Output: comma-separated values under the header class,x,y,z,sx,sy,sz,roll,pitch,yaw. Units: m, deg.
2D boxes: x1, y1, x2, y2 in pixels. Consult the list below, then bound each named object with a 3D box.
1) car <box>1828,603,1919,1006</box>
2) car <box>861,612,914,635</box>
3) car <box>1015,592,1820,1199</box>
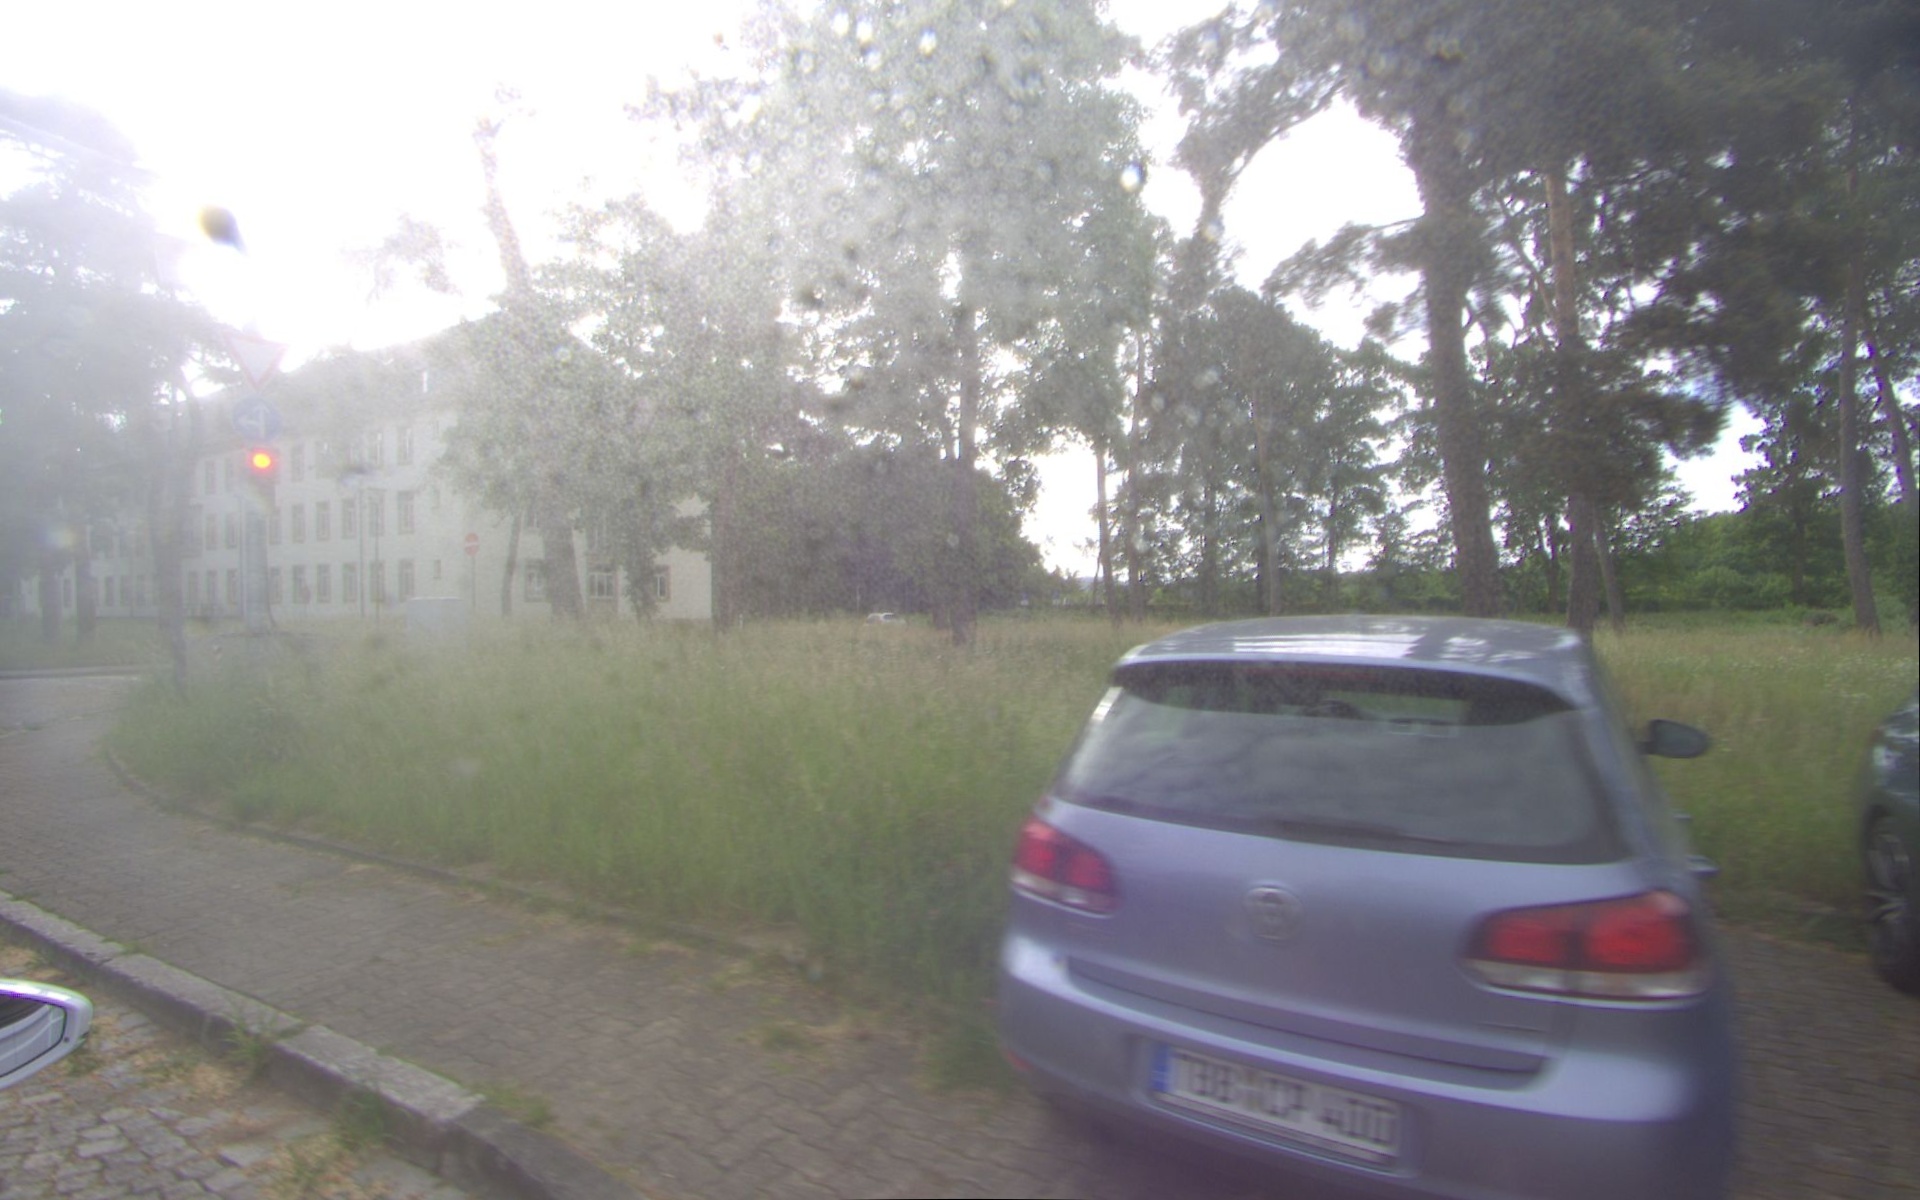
class,x,y,z,sx,sy,sz,roll,pitch,yaw
car,3.766,0.771,2.268,1.843,1.436,4.673,0,1,30
car,-5.098,1.686,71.032,1.628,1.439,3.939,0,-3,35
car,1.907,0.744,3.832,1.620,1.497,3.916,0,1,34
